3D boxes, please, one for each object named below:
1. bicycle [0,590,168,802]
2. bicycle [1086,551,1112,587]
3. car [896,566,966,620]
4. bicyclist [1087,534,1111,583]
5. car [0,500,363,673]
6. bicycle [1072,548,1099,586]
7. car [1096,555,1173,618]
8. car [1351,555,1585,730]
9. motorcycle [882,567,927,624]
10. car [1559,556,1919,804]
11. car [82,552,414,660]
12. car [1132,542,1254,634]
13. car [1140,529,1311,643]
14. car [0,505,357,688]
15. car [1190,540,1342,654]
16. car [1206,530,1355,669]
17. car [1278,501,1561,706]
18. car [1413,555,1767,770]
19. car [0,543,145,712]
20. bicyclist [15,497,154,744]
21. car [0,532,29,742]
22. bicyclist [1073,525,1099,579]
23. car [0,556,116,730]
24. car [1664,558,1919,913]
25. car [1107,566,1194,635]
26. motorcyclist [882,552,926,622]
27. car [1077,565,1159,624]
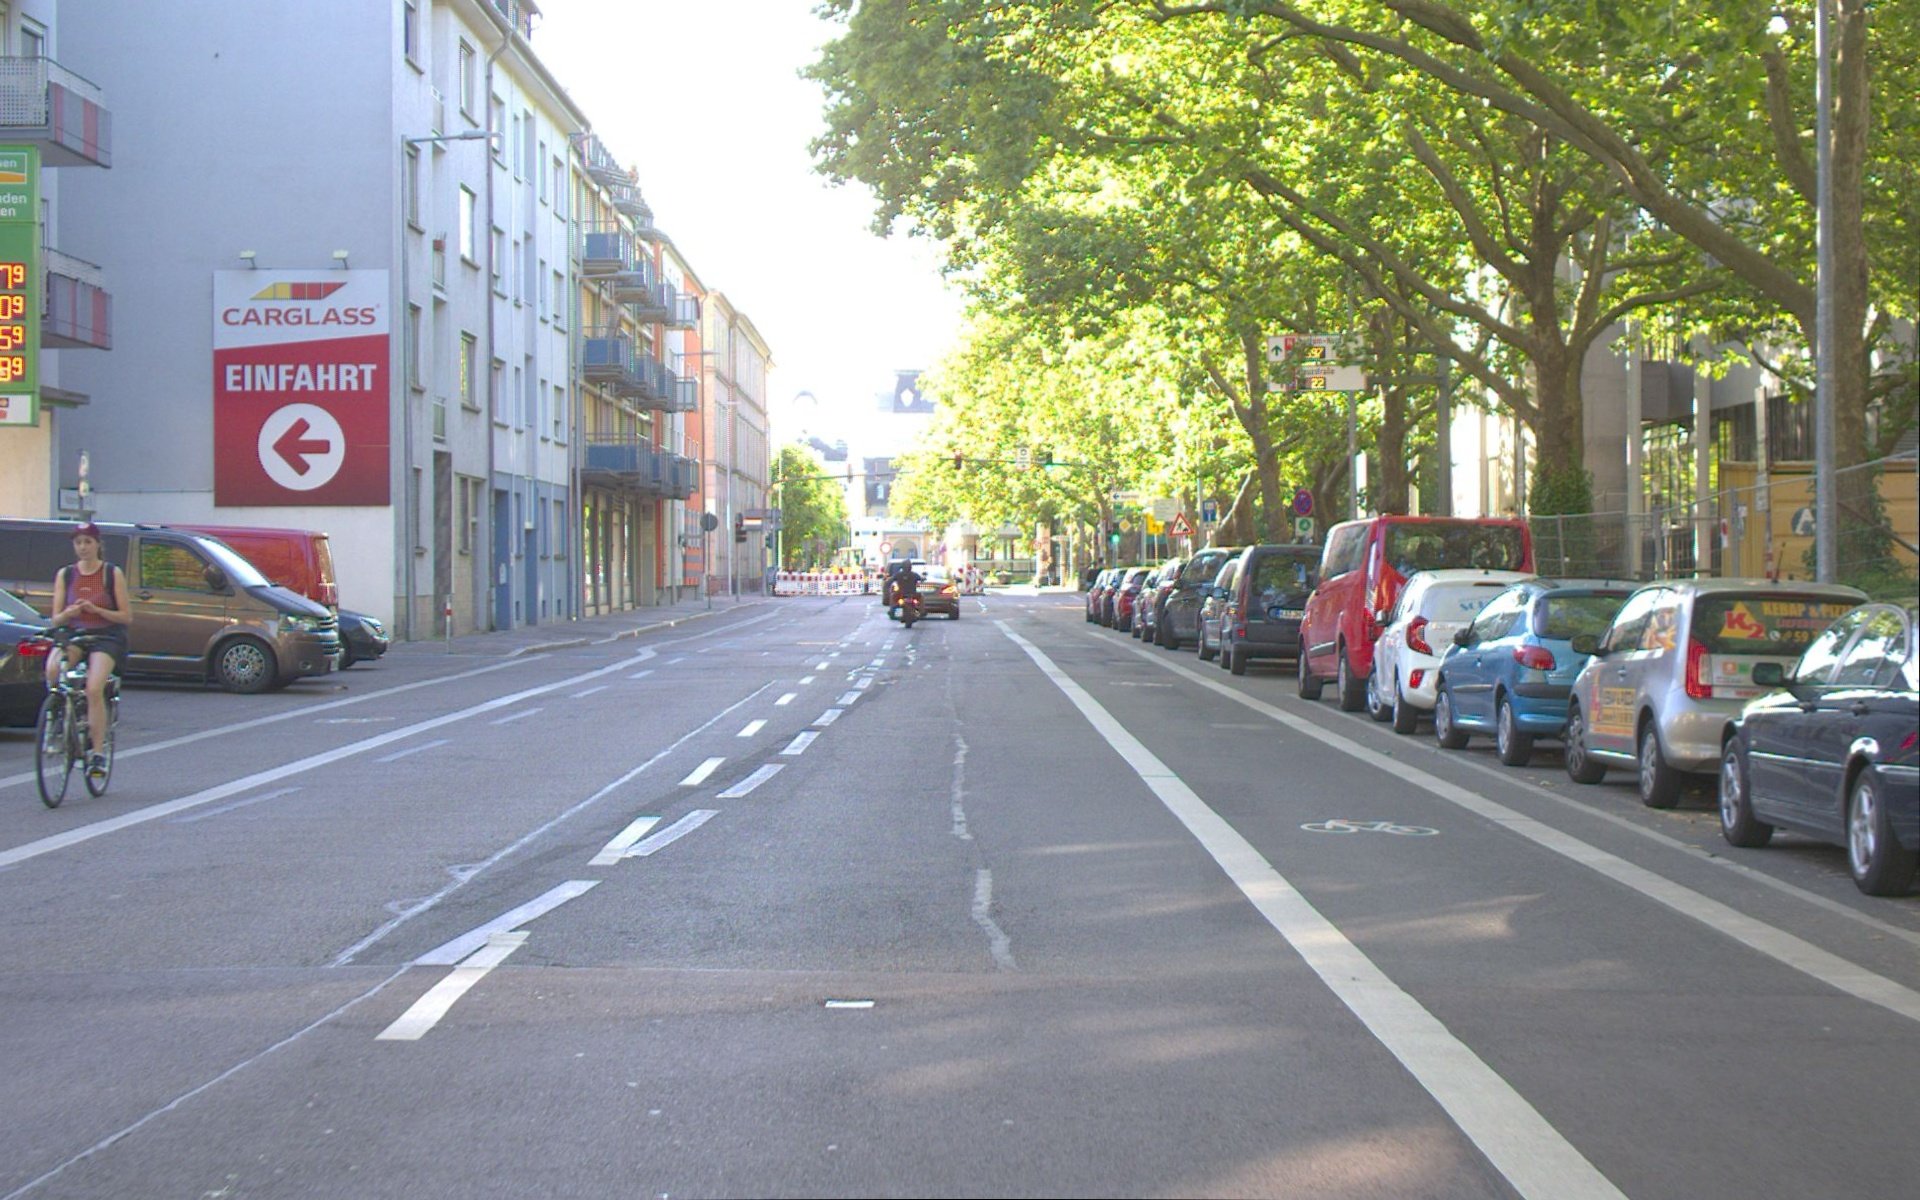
[{"bbox_3d":[-5.604,0.581,21.908,0.607,1.235,2.050,-2,1,0],"label":"bicycle"},{"bbox_3d":[4.384,-0.967,108.308,0.656,1.107,2.186,1,0,-1],"label":"bicycle"},{"bbox_3d":[-0.798,-0.205,92.370,1.828,1.415,3.815,0,0,-1],"label":"car"},{"bbox_3d":[4.389,-1.301,108.416,0.656,1.525,0.906,1,0,-1],"label":"bicyclist"},{"bbox_3d":[-9.912,-0.184,43.111,4.421,1.945,2.146,2,1,0],"label":"car"},{"bbox_3d":[3.651,-0.948,99.843,0.656,1.066,1.927,1,0,-1],"label":"bicycle"},{"bbox_3d":[4.280,-0.332,84.895,1.693,1.461,4.065,2,0,0],"label":"car"},{"bbox_3d":[4.652,0.350,31.941,1.638,1.480,3.759,2,1,1],"label":"car"},{"bbox_3d":[-1.292,-0.115,79.793,1.012,1.302,2.673,0,0,-1],"label":"motorcycle"},{"bbox_3d":[5.176,0.473,22.990,1.613,1.470,3.493,2,1,-1],"label":"car"},{"bbox_3d":[-9.992,0.077,48.489,4.228,1.375,2.046,2,0,0],"label":"car"},{"bbox_3d":[4.361,-0.237,64.943,1.775,1.622,4.621,2,0,-2],"label":"car"},{"bbox_3d":[4.540,-0.256,59.508,1.824,1.835,4.901,2,0,-9],"label":"car"},{"bbox_3d":[-9.547,-0.071,40.316,4.522,1.945,2.057,2,1,0],"label":"car"},{"bbox_3d":[4.645,-0.067,52.732,1.692,1.622,4.330,2,0,-3],"label":"car"},{"bbox_3d":[4.438,-0.023,48.128,1.693,1.806,4.130,2,0,1],"label":"car"},{"bbox_3d":[4.818,0.008,36.849,2.078,1.987,5.172,2,0,-2],"label":"car"},{"bbox_3d":[4.923,0.436,27.413,1.855,1.505,3.930,2,1,-3],"label":"car"},{"bbox_3d":[-9.714,0.202,32.226,3.685,1.508,1.831,2,0,0],"label":"car"},{"bbox_3d":[-5.628,0.119,22.138,0.607,1.539,0.934,-2,1,0],"label":"bicyclist"},{"bbox_3d":[-9.746,0.262,27.185,4.194,1.678,2.028,1,0,0],"label":"car"},{"bbox_3d":[3.661,-1.392,99.831,0.656,1.525,0.852,1,0,-1],"label":"bicyclist"},{"bbox_3d":[-9.568,0.326,29.877,3.987,1.451,1.916,1,1,0],"label":"car"},{"bbox_3d":[4.974,0.580,17.121,1.855,1.517,4.599,2,1,-1],"label":"car"},{"bbox_3d":[4.357,-0.007,79.274,1.693,1.474,4.318,2,0,0],"label":"car"},{"bbox_3d":[-1.296,-0.308,79.791,1.012,1.597,1.406,0,0,-1],"label":"motorcyclist"},{"bbox_3d":[4.135,-0.165,90.433,1.692,1.444,4.436,2,0,-3],"label":"car"}]
